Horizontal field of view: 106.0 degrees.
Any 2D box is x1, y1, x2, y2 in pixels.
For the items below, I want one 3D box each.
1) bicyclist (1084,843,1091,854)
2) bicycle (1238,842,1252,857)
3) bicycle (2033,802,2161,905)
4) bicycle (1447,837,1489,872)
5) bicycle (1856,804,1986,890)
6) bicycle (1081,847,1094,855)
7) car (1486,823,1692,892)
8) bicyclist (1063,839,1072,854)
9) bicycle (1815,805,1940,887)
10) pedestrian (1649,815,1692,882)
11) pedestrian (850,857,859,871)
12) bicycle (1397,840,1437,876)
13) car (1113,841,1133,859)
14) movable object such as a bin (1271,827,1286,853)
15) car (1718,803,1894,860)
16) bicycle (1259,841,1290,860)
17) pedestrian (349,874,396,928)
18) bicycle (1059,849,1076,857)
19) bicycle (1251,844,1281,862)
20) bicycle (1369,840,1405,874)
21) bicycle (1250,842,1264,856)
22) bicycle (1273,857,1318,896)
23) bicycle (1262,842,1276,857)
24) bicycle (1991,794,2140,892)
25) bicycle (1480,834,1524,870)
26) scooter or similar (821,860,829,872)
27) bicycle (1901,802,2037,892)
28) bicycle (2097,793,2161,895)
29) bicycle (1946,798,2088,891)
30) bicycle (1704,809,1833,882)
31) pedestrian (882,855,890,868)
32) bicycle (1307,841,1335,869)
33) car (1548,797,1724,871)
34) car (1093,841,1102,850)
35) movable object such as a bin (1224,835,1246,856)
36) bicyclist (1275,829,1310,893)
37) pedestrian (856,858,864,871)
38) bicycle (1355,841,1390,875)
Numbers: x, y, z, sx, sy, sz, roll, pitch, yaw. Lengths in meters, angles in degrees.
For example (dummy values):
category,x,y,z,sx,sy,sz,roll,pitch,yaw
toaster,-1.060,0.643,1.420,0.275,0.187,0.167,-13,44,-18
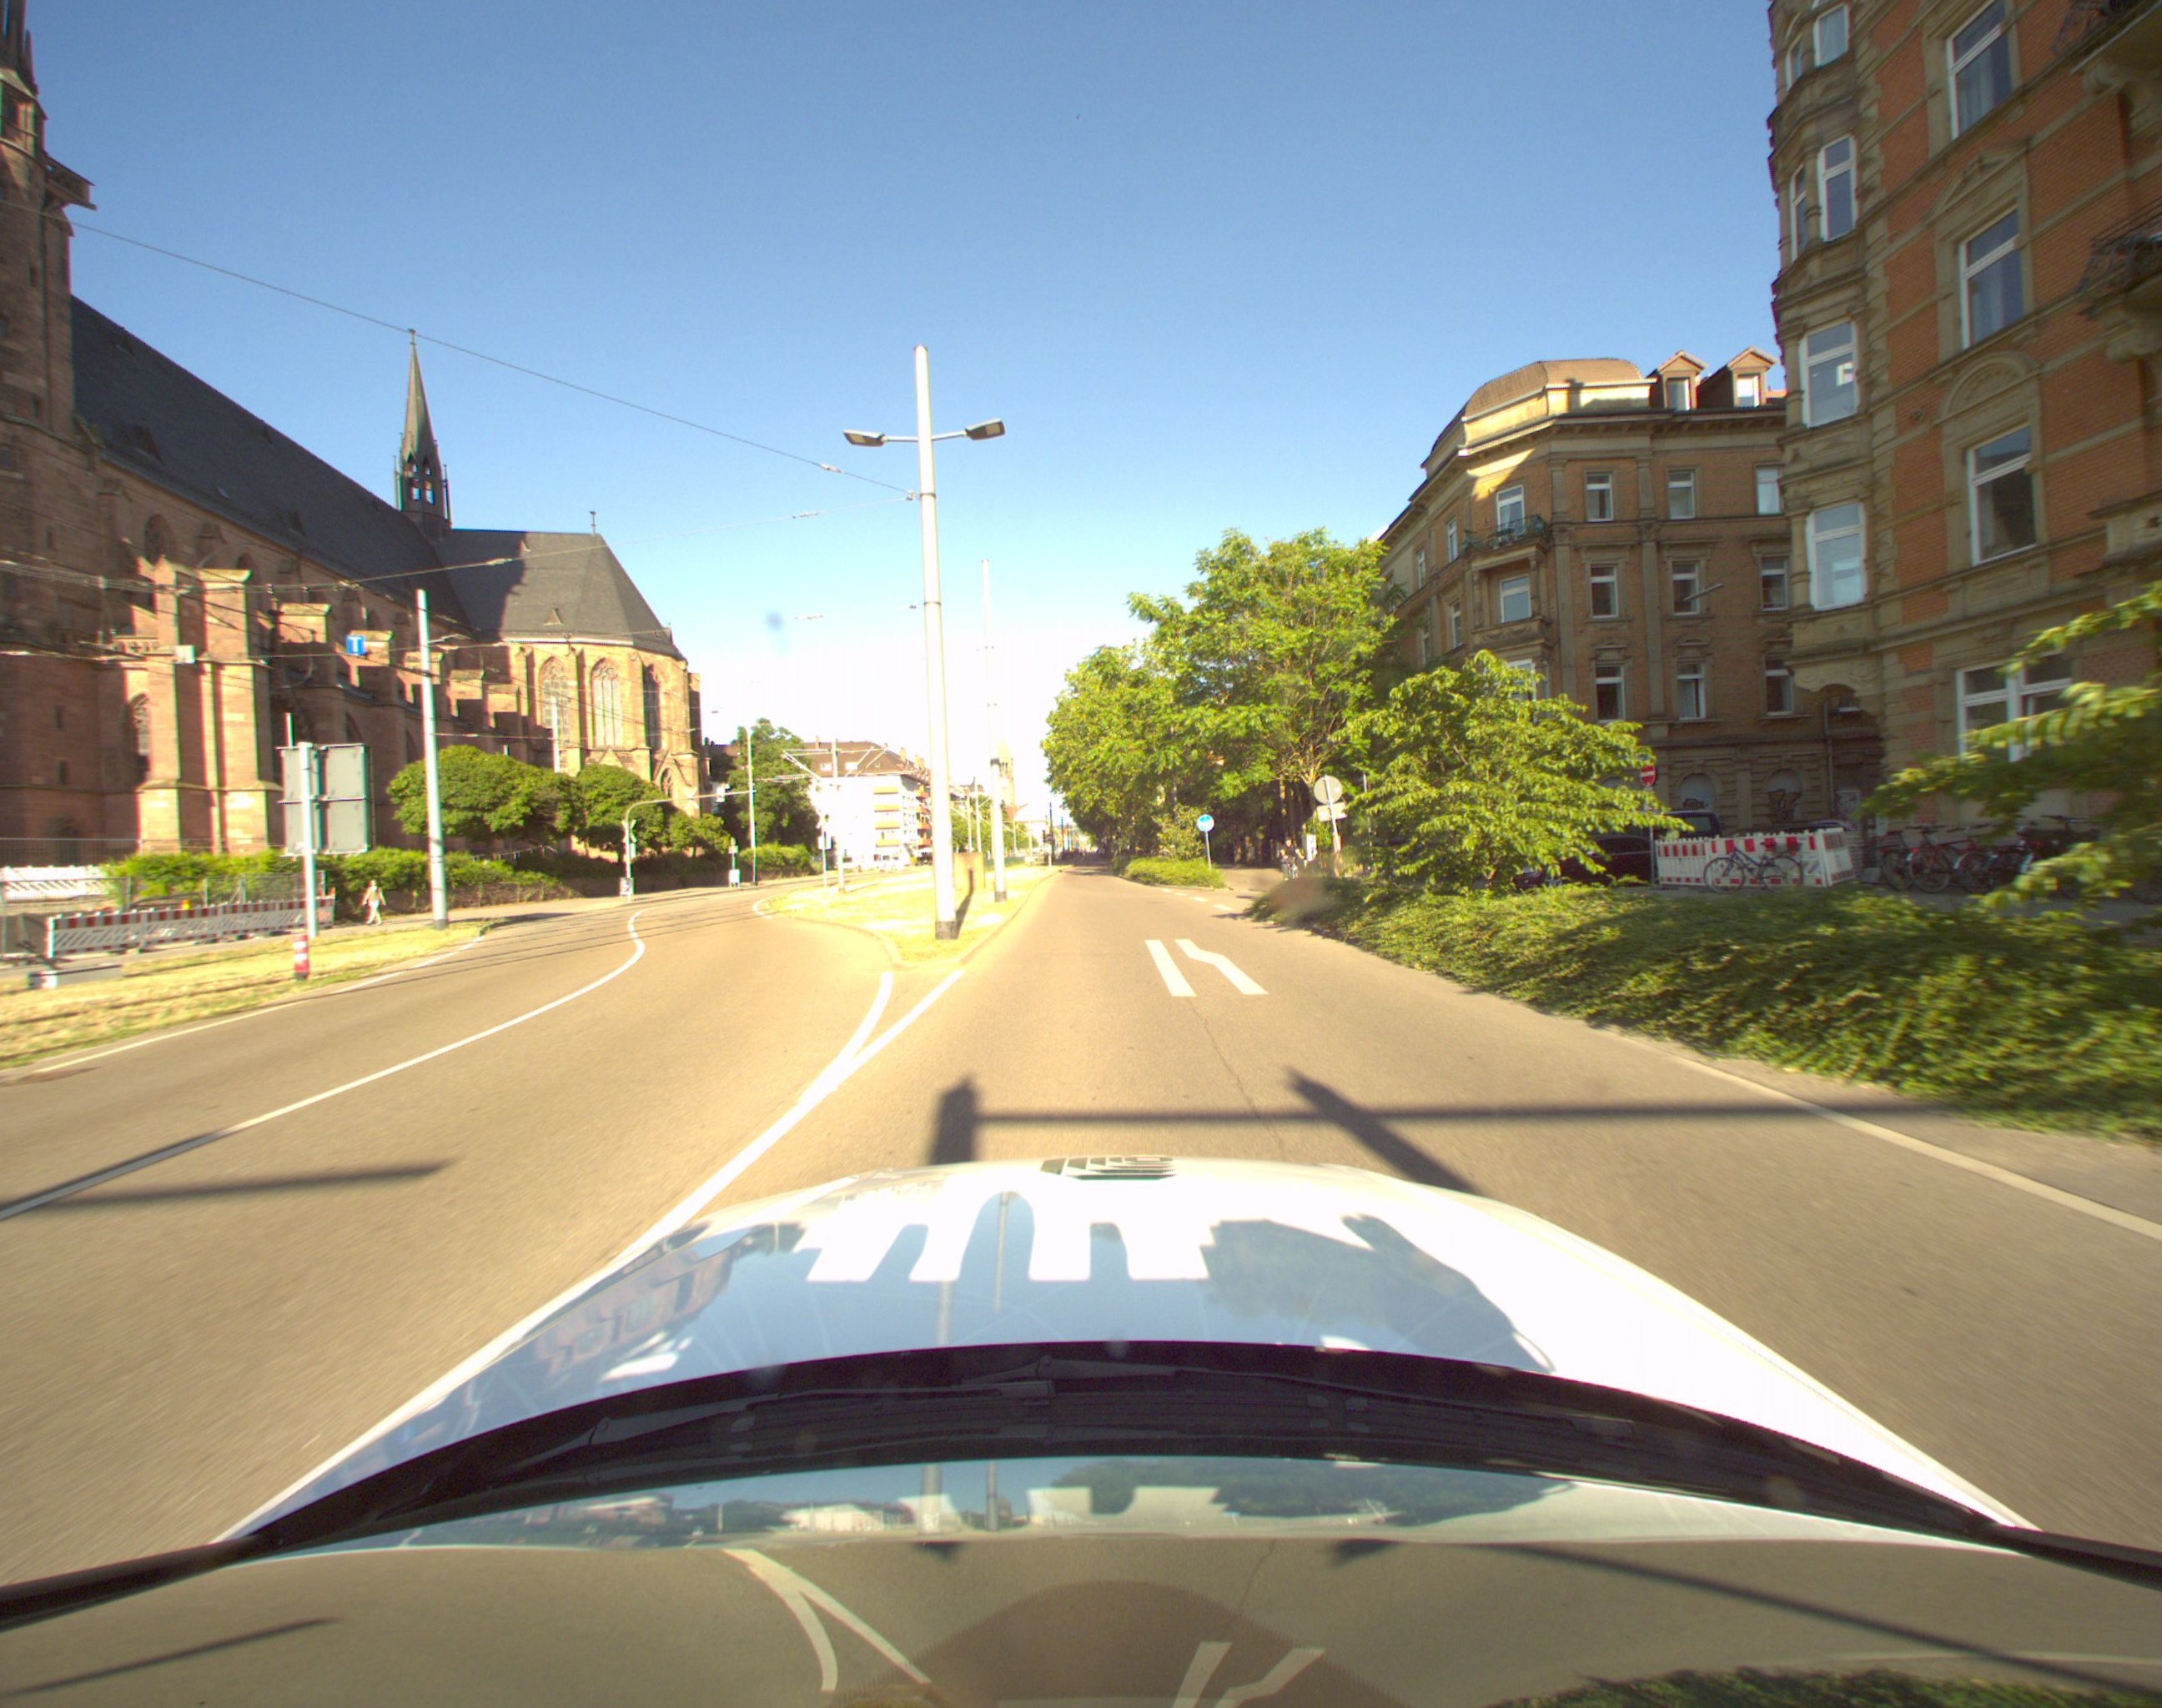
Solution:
category,x,y,z,sx,sy,sz,roll,pitch,yaw
bicyclist,0.964,-0.818,117.163,0.749,1.557,0.572,-5,3,-8
bicycle,10.572,-0.303,52.529,0.766,0.854,0.375,-4,3,-3
bicycle,13.949,-0.022,11.015,1.885,1.239,0.488,-4,-1,-12
bicycle,12.920,0.002,27.247,0.516,1.047,1.821,-4,3,0
bicycle,13.663,-0.110,13.248,1.885,1.239,0.488,-4,-1,-12
bicycle,0.966,-0.468,117.179,1.813,1.047,0.572,-5,3,-8
car,13.112,0.049,21.207,4.237,1.415,1.813,-4,3,0
bicyclist,-1.875,-1.057,114.945,1.137,1.890,0.682,-4,3,0
bicycle,13.524,-0.136,13.833,1.885,1.239,0.488,-4,-1,-12
pedestrian,13.871,-0.134,19.149,0.694,1.534,0.666,-3,1,41
pedestrian,-27.875,1.275,100.172,0.641,1.598,0.898,-4,3,1
bicycle,11.205,0.108,27.211,0.516,1.047,1.821,-4,3,0
car,3.879,-0.357,75.709,1.637,1.511,4.184,-4,1,1
movable object such as a bin,13.835,-0.993,57.037,0.752,1.692,0.742,-4,3,-2
car,23.541,-0.760,26.549,4.146,1.507,1.793,-4,3,1
bicycle,11.214,-0.211,47.293,1.646,0.924,0.539,-4,3,1
pedestrian,-25.179,1.647,28.951,0.726,1.773,0.863,-4,3,-2
bicycle,-1.916,-0.101,114.984,2.234,0.976,0.682,-3,3,-1
bicycle,11.005,-0.045,48.428,1.646,0.924,0.539,-4,3,1
bicycle,10.615,0.087,28.257,0.516,1.047,1.821,-4,3,0
bicycle,11.372,-0.335,52.570,0.766,0.854,0.375,-4,3,-3
bicycle,6.298,0.646,24.062,0.639,1.048,2.360,-4,0,0
bicycle,12.162,-0.302,52.563,0.766,0.854,0.375,-4,3,-3
bicycle,14.062,-0.155,11.635,1.885,1.239,0.488,-4,-1,-12
bicycle,14.093,-0.087,27.298,0.516,1.047,1.821,-4,3,0
scooter or similar,-29.506,1.333,93.935,0.400,1.261,1.231,-4,3,1
bicycle,13.837,-0.119,12.696,1.885,1.239,0.488,-4,-1,-12
bicycle,14.143,-0.181,10.479,1.885,1.239,0.488,-4,-1,-12
bicycle,14.040,-0.146,12.222,1.885,1.239,0.488,-4,-1,-12
bicycle,12.531,-0.130,14.934,0.489,1.239,1.884,-4,-1,-8
pedestrian,-24.681,0.939,103.125,0.685,1.467,0.592,-4,3,4
bicycle,9.569,0.035,32.485,0.524,0.988,1.722,-4,3,-1
car,17.960,-0.691,26.489,4.564,2.123,1.775,-3,3,-1
car,3.721,-1.927,185.302,1.986,2.107,4.001,-1,0,1
movable object such as a bin,10.786,-0.585,57.048,1.228,1.382,1.257,-4,1,0
bicyclist,6.269,0.207,24.195,0.639,1.814,1.052,-4,-1,0
pedestrian,-27.216,1.291,100.183,0.587,1.467,0.916,-4,3,1
bicycle,10.106,0.124,28.255,0.516,1.047,1.821,-4,3,0
